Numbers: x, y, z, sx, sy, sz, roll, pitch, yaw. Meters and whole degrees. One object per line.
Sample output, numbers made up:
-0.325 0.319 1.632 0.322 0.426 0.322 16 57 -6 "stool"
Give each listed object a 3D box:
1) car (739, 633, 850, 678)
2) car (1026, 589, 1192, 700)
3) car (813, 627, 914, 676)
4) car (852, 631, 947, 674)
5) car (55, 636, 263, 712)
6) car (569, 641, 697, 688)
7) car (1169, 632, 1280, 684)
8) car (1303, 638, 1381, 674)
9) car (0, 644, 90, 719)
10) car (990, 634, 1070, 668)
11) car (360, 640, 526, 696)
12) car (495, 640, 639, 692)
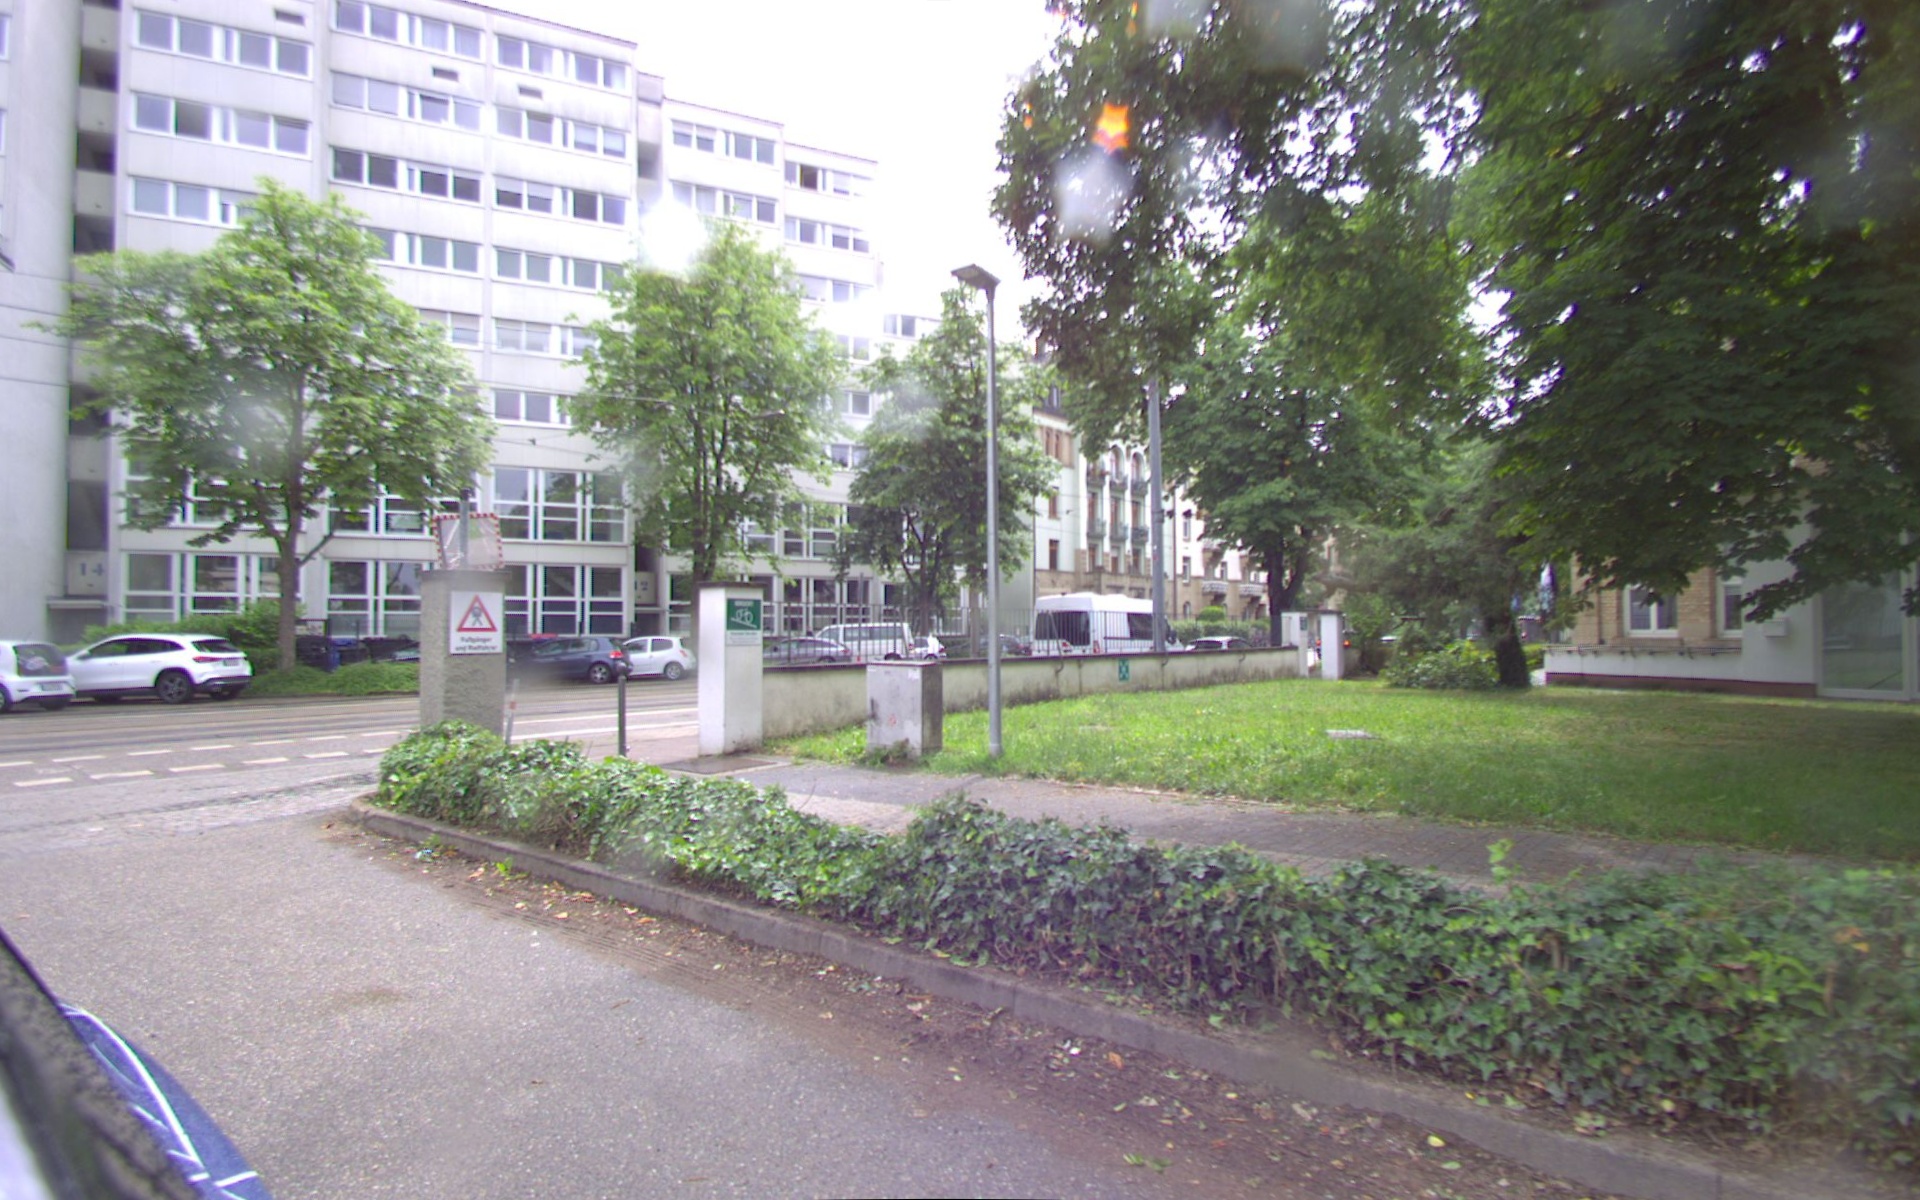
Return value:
-6.382 2.144 38.862 4.015 1.663 1.795 1 -4 -15 "car"
3.962 1.180 26.275 2.091 2.601 5.016 -3 -4 37 "car"
-3.931 2.126 41.363 4.023 1.947 1.792 0 -4 -4 "car"
-2.635 2.285 43.715 4.023 1.820 1.792 0 -4 -4 "car"
-18.258 1.676 23.198 3.338 1.615 1.709 -1 -3 -5 "car"
-10.771 2.144 33.577 3.723 1.517 1.792 0 -4 -4 "car"
8.346 1.814 31.739 1.909 1.534 4.090 -3 -4 37 "car"
15.783 2.301 41.683 1.909 1.400 4.090 -3 -4 37 "car"
-20.044 1.663 20.477 3.338 1.456 1.656 -1 -3 -5 "car"
3.540 2.607 51.418 3.828 1.687 1.752 0 -4 -4 "car"
-14.455 1.899 28.473 3.723 1.517 1.792 0 -4 -4 "car"
-11.923 2.012 30.895 3.723 1.517 1.792 0 -4 -4 "car"
